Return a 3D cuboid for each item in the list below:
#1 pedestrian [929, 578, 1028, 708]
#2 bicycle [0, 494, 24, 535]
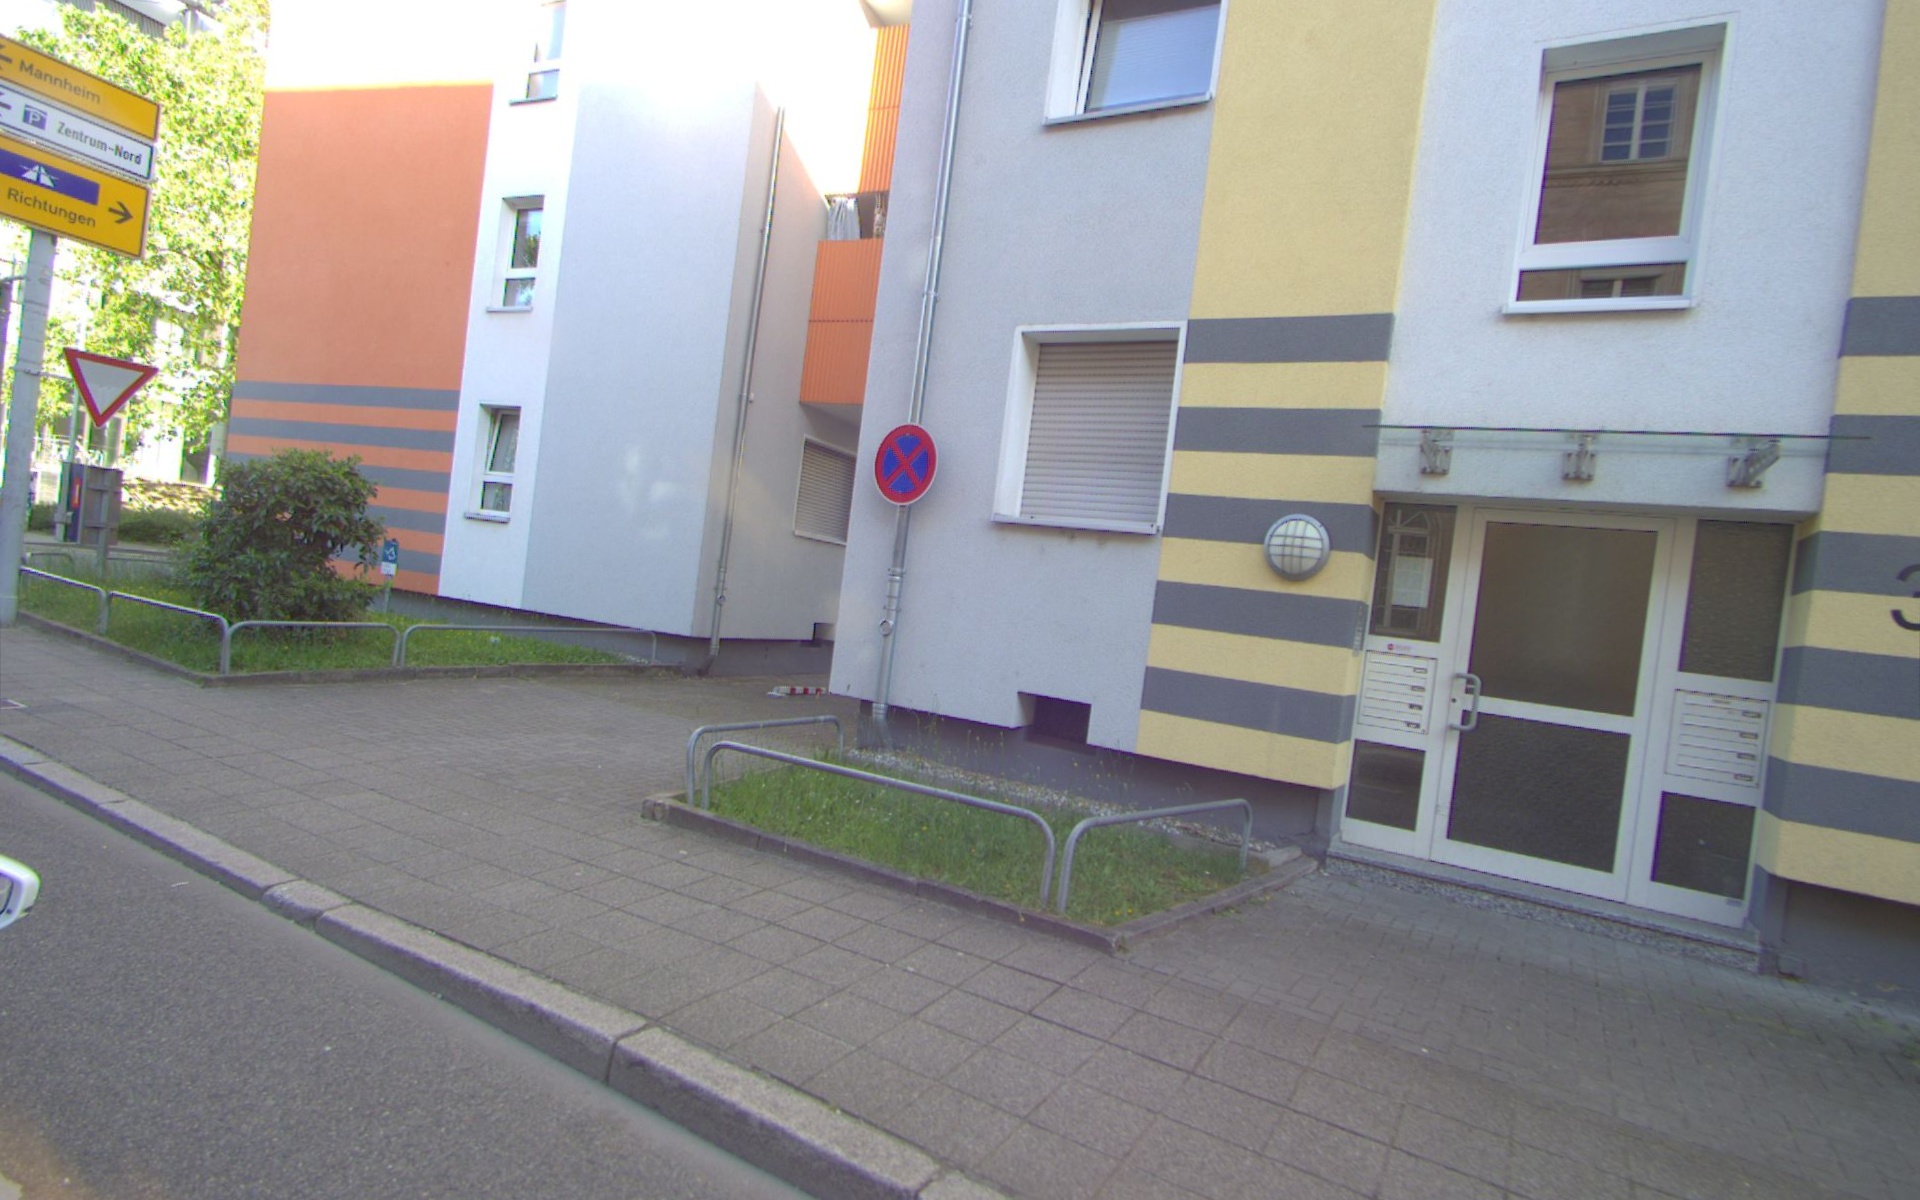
[{"bbox_3d":[0.250,0.560,13.287,0.941,1.593,0.749,5,0,28],"label":"pedestrian"},{"bbox_3d":[-26.844,-2.441,27.433,1.883,1.062,0.463,7,1,-10],"label":"bicycle"}]
